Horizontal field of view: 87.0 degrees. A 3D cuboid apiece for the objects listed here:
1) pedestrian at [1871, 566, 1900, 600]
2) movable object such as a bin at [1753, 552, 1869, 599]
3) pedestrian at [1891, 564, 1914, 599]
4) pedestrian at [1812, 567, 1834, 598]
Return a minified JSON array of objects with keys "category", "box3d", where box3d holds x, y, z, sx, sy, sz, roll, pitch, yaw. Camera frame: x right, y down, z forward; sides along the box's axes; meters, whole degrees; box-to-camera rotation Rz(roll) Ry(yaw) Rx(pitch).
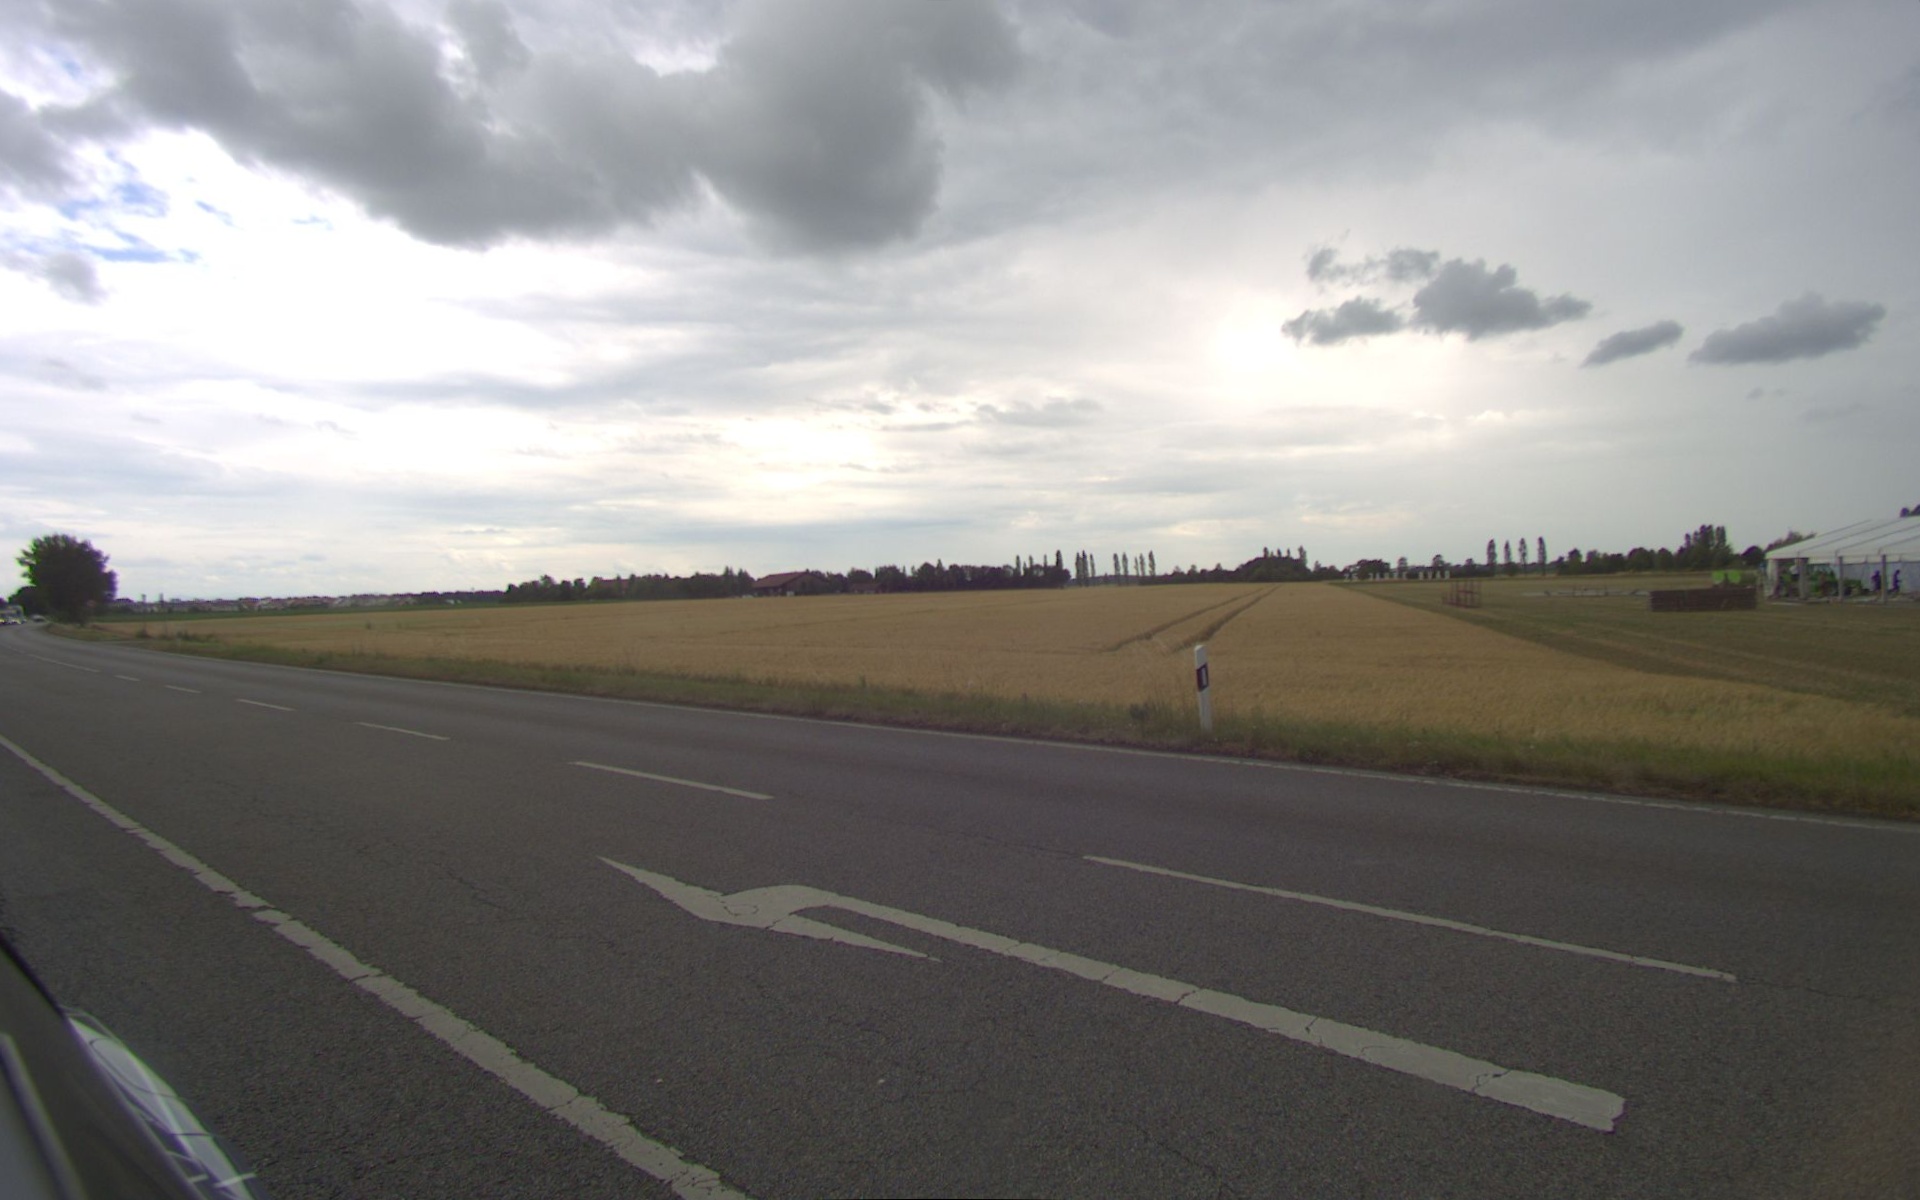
[{"category":"pedestrian","box3d":[56.199,-1.055,61.455,0.793,2.029,1.028,-1,0,-20]},{"category":"movable object such as a bin","box3d":[62.682,-1.825,74.836,4.127,3.201,7.533,-1,1,20]},{"category":"pedestrian","box3d":[57.431,-1.124,61.662,0.940,2.118,0.856,-1,0,40]},{"category":"pedestrian","box3d":[57.899,-1.185,67.902,0.801,2.029,1.018,-1,0,22]}]
